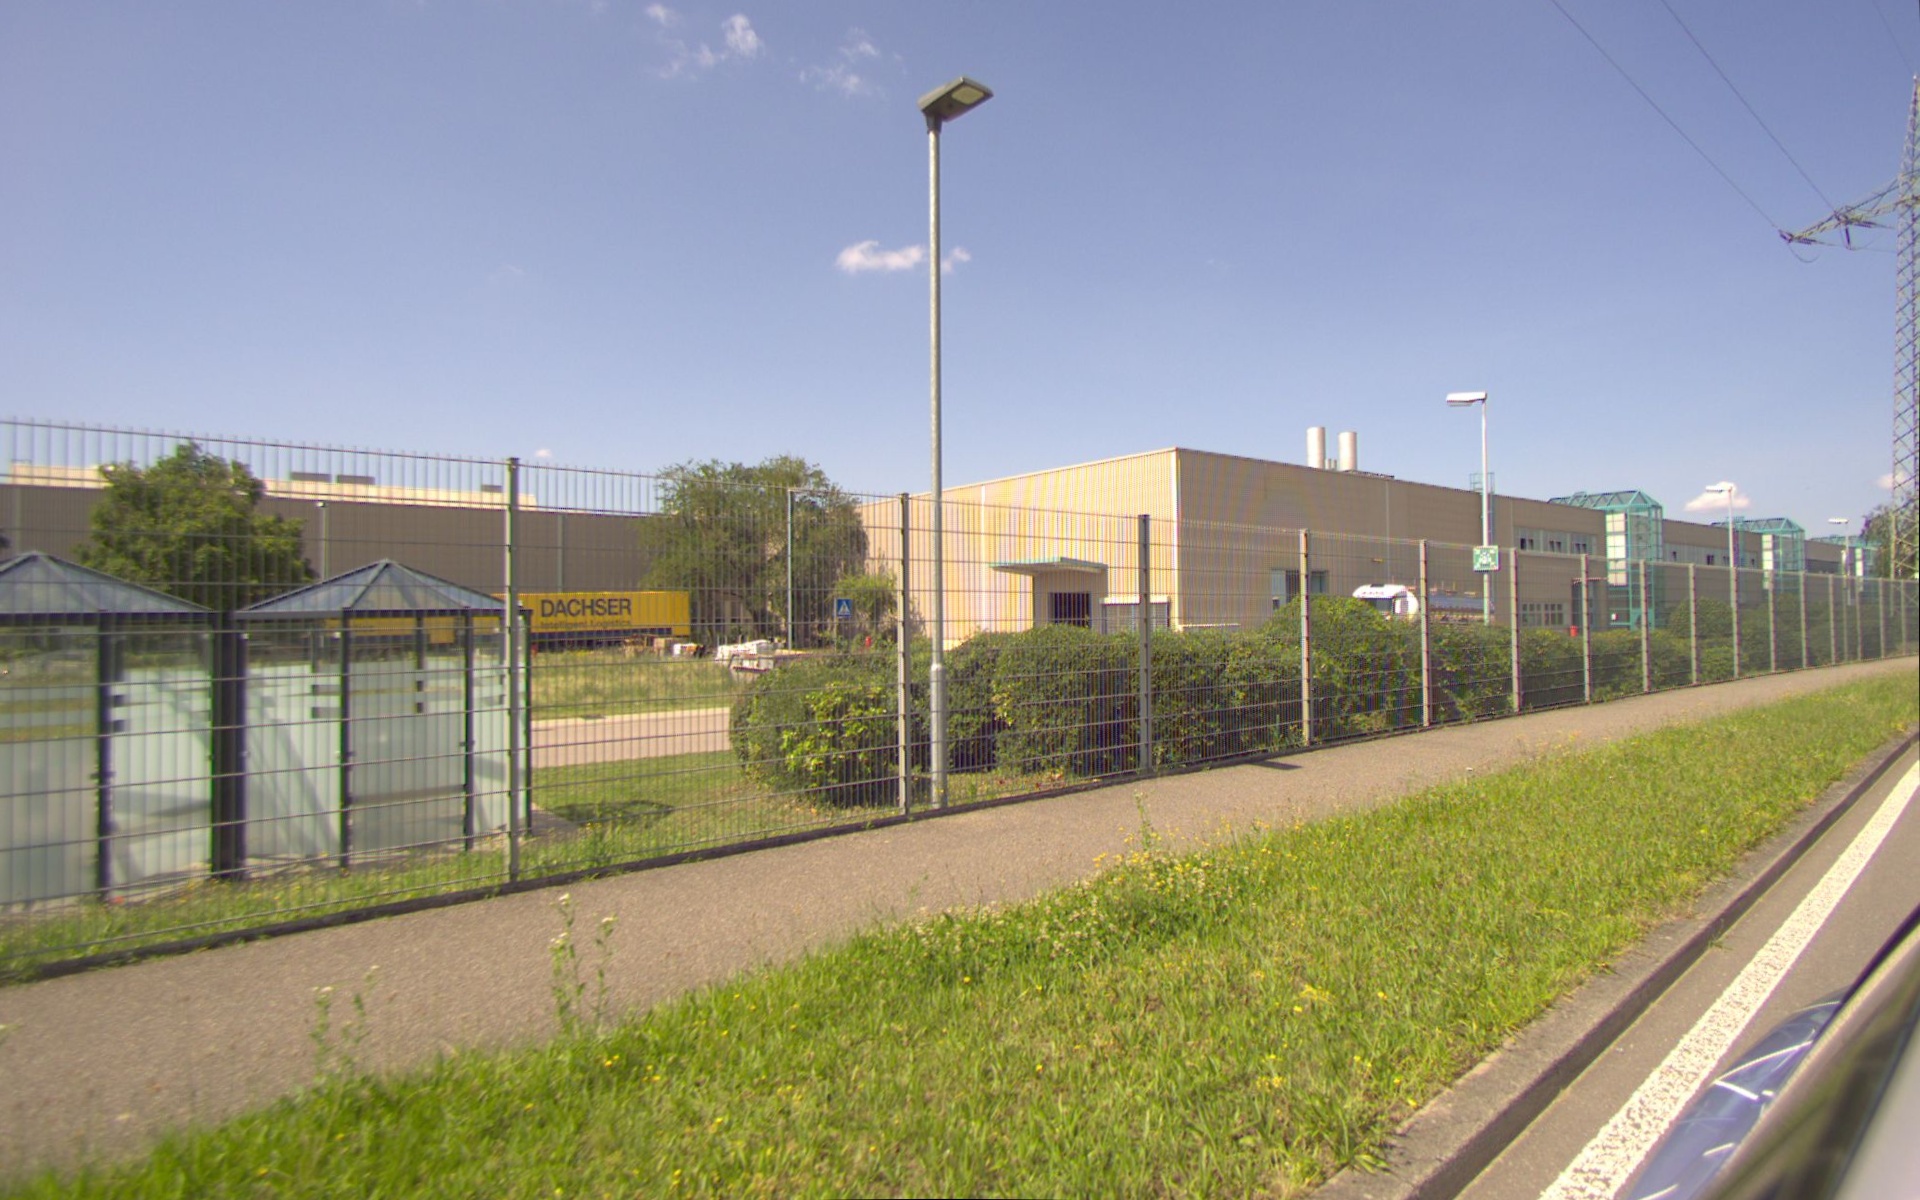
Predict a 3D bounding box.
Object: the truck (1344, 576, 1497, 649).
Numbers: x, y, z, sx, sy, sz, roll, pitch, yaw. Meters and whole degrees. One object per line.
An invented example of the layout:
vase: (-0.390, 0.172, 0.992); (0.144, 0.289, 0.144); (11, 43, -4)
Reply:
truck: (26.425, 0.596, 57.705); (11.462, 3.788, 2.864); (-1, 0, -38)

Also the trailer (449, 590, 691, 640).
trailer: (-23.488, 0.812, 62.028); (13.836, 2.747, 1.999); (-1, 0, -37)

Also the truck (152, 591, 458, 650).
truck: (-34.192, 0.948, 53.691); (13.488, 2.747, 1.998); (-1, 0, -38)
